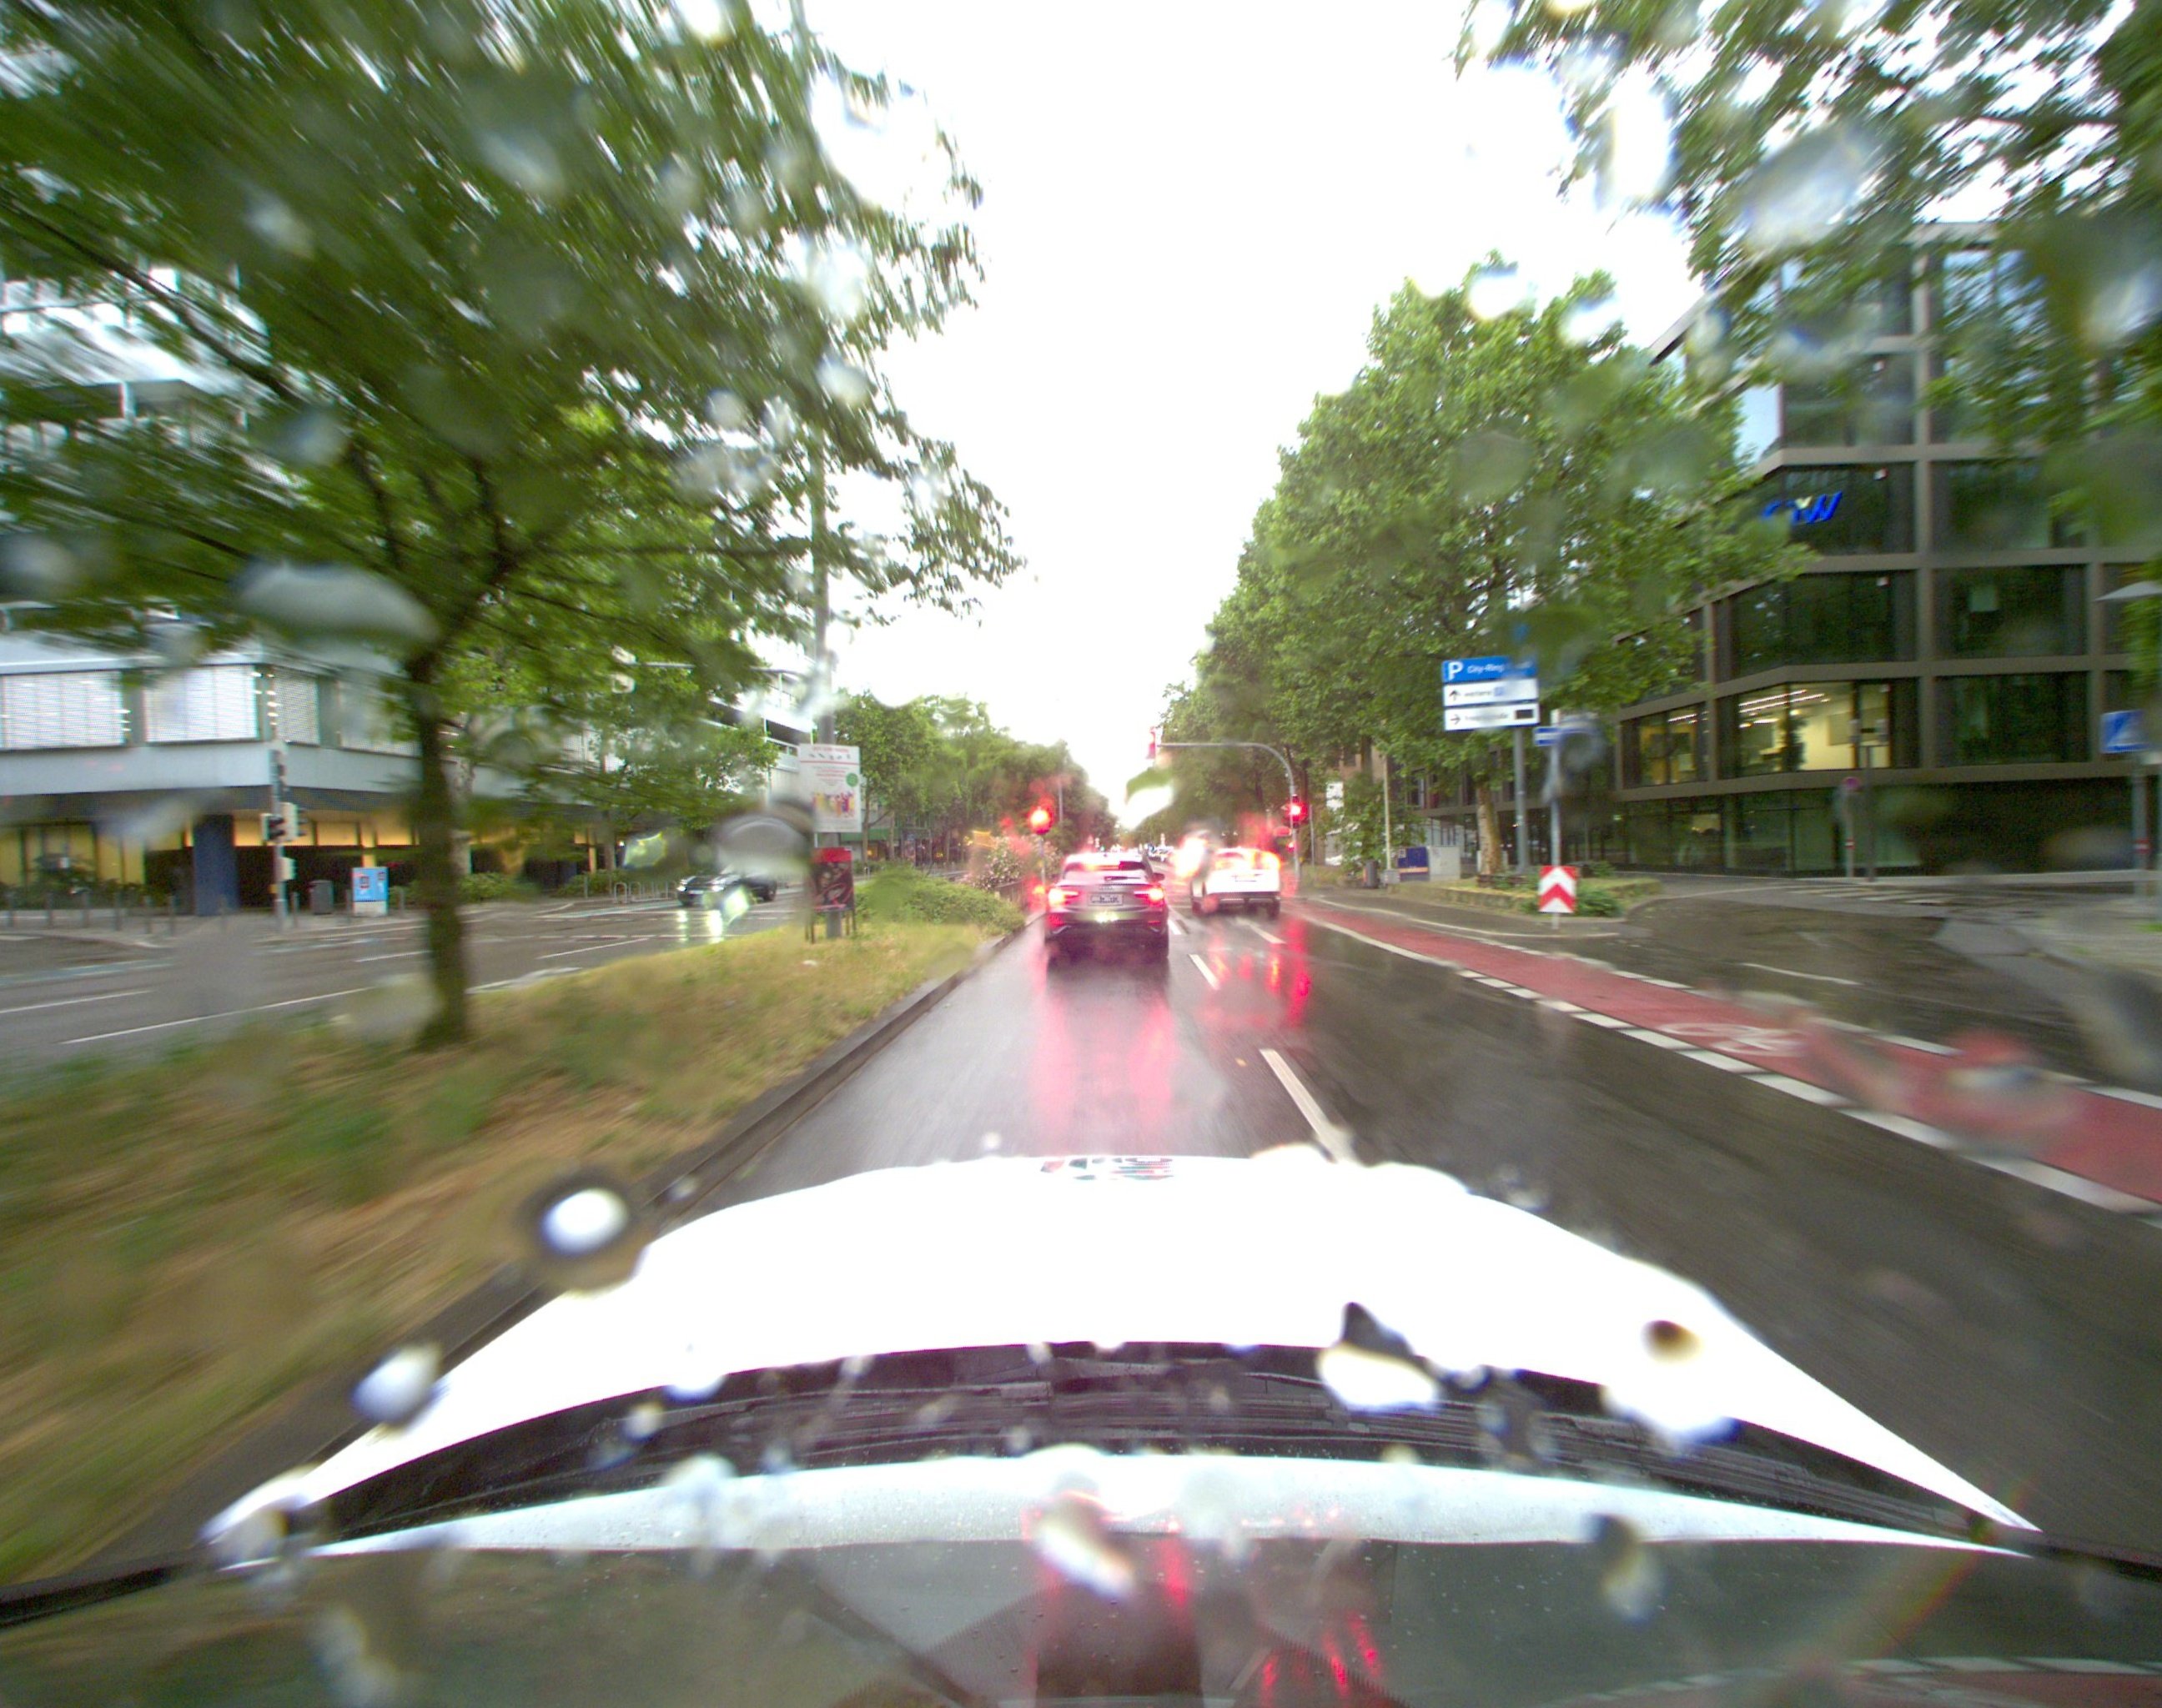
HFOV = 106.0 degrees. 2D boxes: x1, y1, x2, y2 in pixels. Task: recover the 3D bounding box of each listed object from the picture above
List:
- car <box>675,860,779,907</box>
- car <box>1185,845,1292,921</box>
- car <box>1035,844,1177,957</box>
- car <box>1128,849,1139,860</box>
[{"bbox_3d":[-13.189,1.058,30.629,1.822,1.552,4.193,-2,0,3],"label":"car"},{"bbox_3d":[3.919,0.639,21.144,1.986,1.655,4.891,-1,1,2],"label":"car"},{"bbox_3d":[0.424,0.620,13.183,1.911,1.491,4.002,-1,1,2],"label":"car"},{"bbox_3d":[8.009,0.087,124.191,1.614,1.666,4.002,-2,0,2],"label":"car"}]
